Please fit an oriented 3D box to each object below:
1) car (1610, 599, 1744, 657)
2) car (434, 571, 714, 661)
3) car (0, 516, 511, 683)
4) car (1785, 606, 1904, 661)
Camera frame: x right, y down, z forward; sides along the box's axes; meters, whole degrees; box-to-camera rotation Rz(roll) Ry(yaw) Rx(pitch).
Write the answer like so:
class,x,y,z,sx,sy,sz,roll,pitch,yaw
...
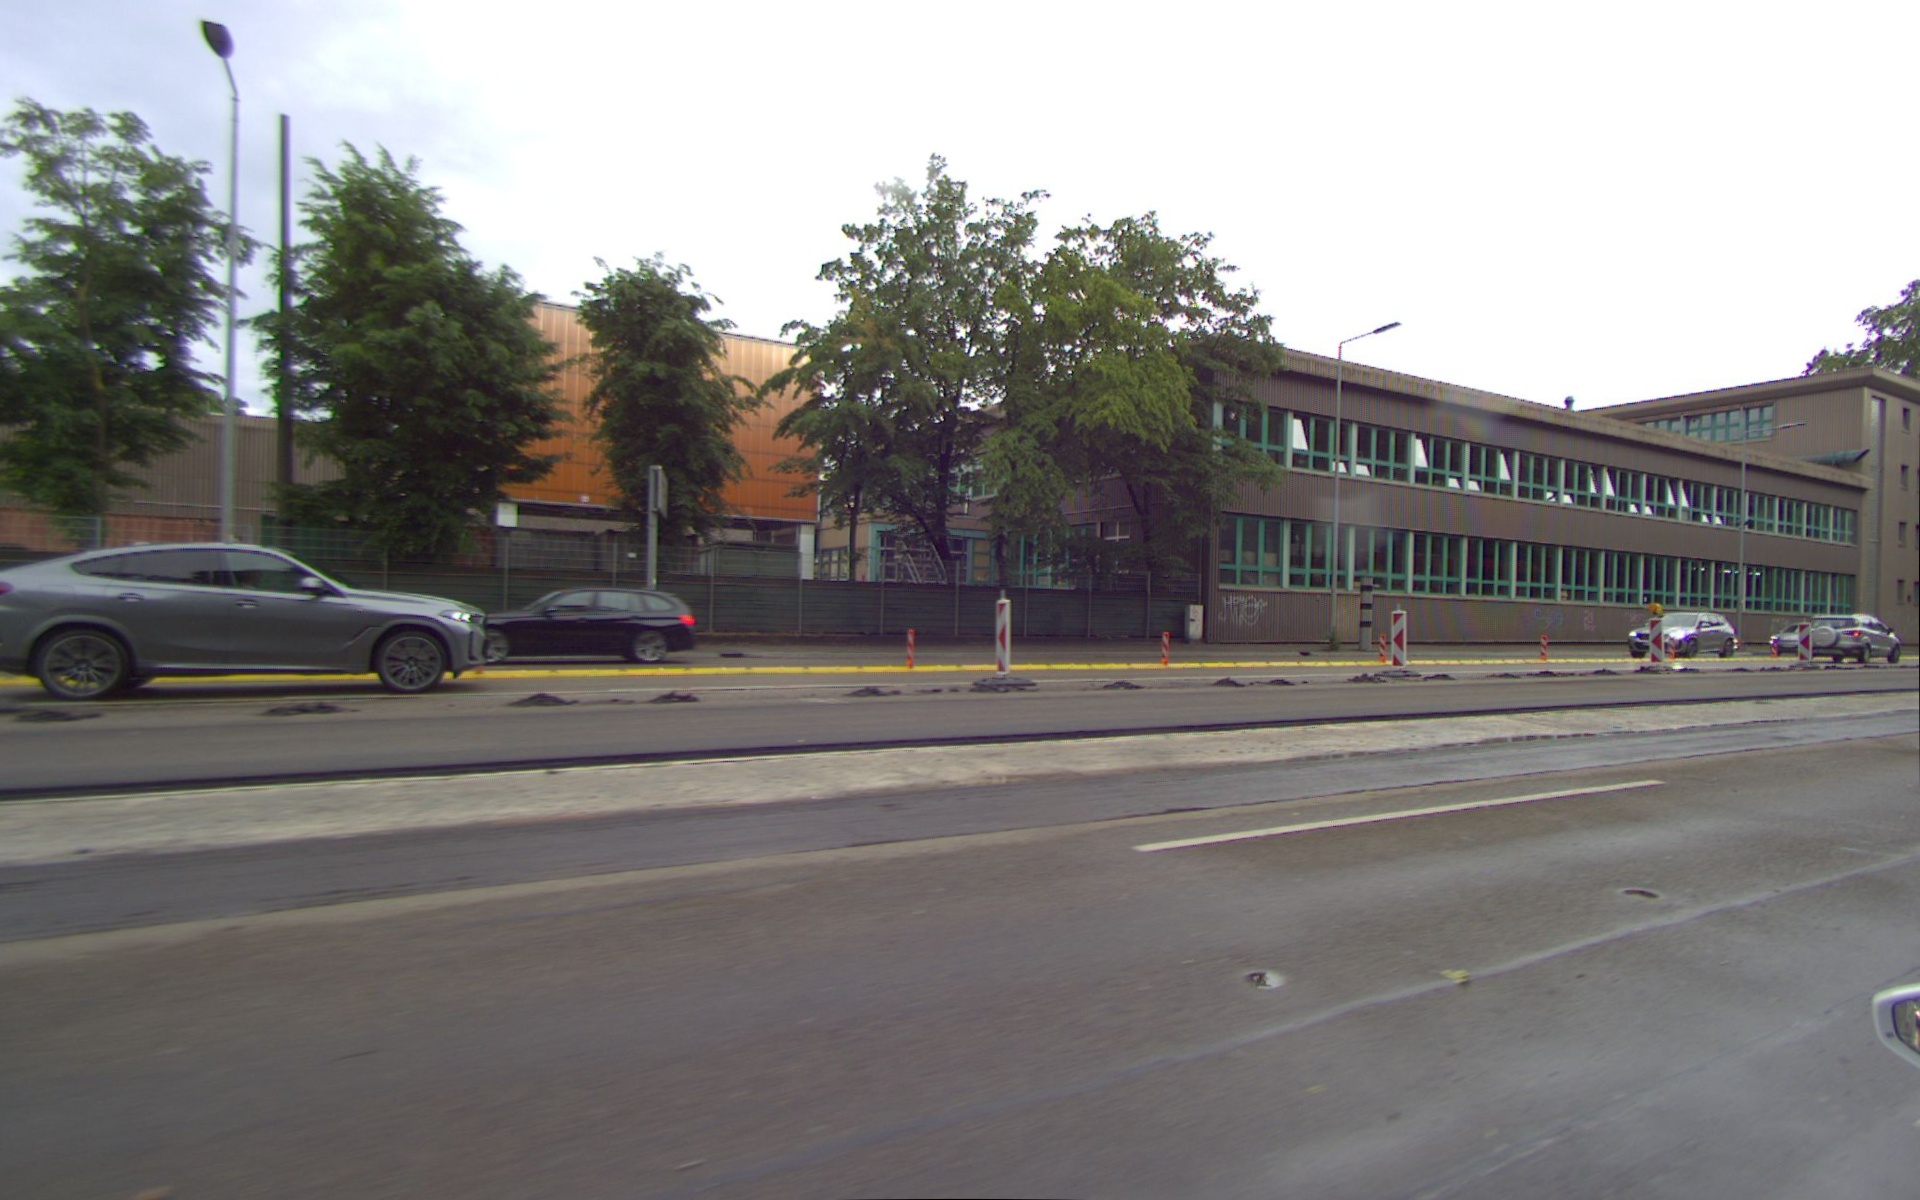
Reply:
class,x,y,z,sx,sy,sz,roll,pitch,yaw
car,25.140,0.975,35.211,4.617,1.792,1.980,3,0,-29
car,-7.312,0.313,19.145,4.709,1.473,2.036,3,0,-30
car,-8.135,0.056,11.782,4.998,1.634,2.066,3,0,-31
car,30.207,1.149,34.287,3.953,1.670,1.845,3,0,-30
